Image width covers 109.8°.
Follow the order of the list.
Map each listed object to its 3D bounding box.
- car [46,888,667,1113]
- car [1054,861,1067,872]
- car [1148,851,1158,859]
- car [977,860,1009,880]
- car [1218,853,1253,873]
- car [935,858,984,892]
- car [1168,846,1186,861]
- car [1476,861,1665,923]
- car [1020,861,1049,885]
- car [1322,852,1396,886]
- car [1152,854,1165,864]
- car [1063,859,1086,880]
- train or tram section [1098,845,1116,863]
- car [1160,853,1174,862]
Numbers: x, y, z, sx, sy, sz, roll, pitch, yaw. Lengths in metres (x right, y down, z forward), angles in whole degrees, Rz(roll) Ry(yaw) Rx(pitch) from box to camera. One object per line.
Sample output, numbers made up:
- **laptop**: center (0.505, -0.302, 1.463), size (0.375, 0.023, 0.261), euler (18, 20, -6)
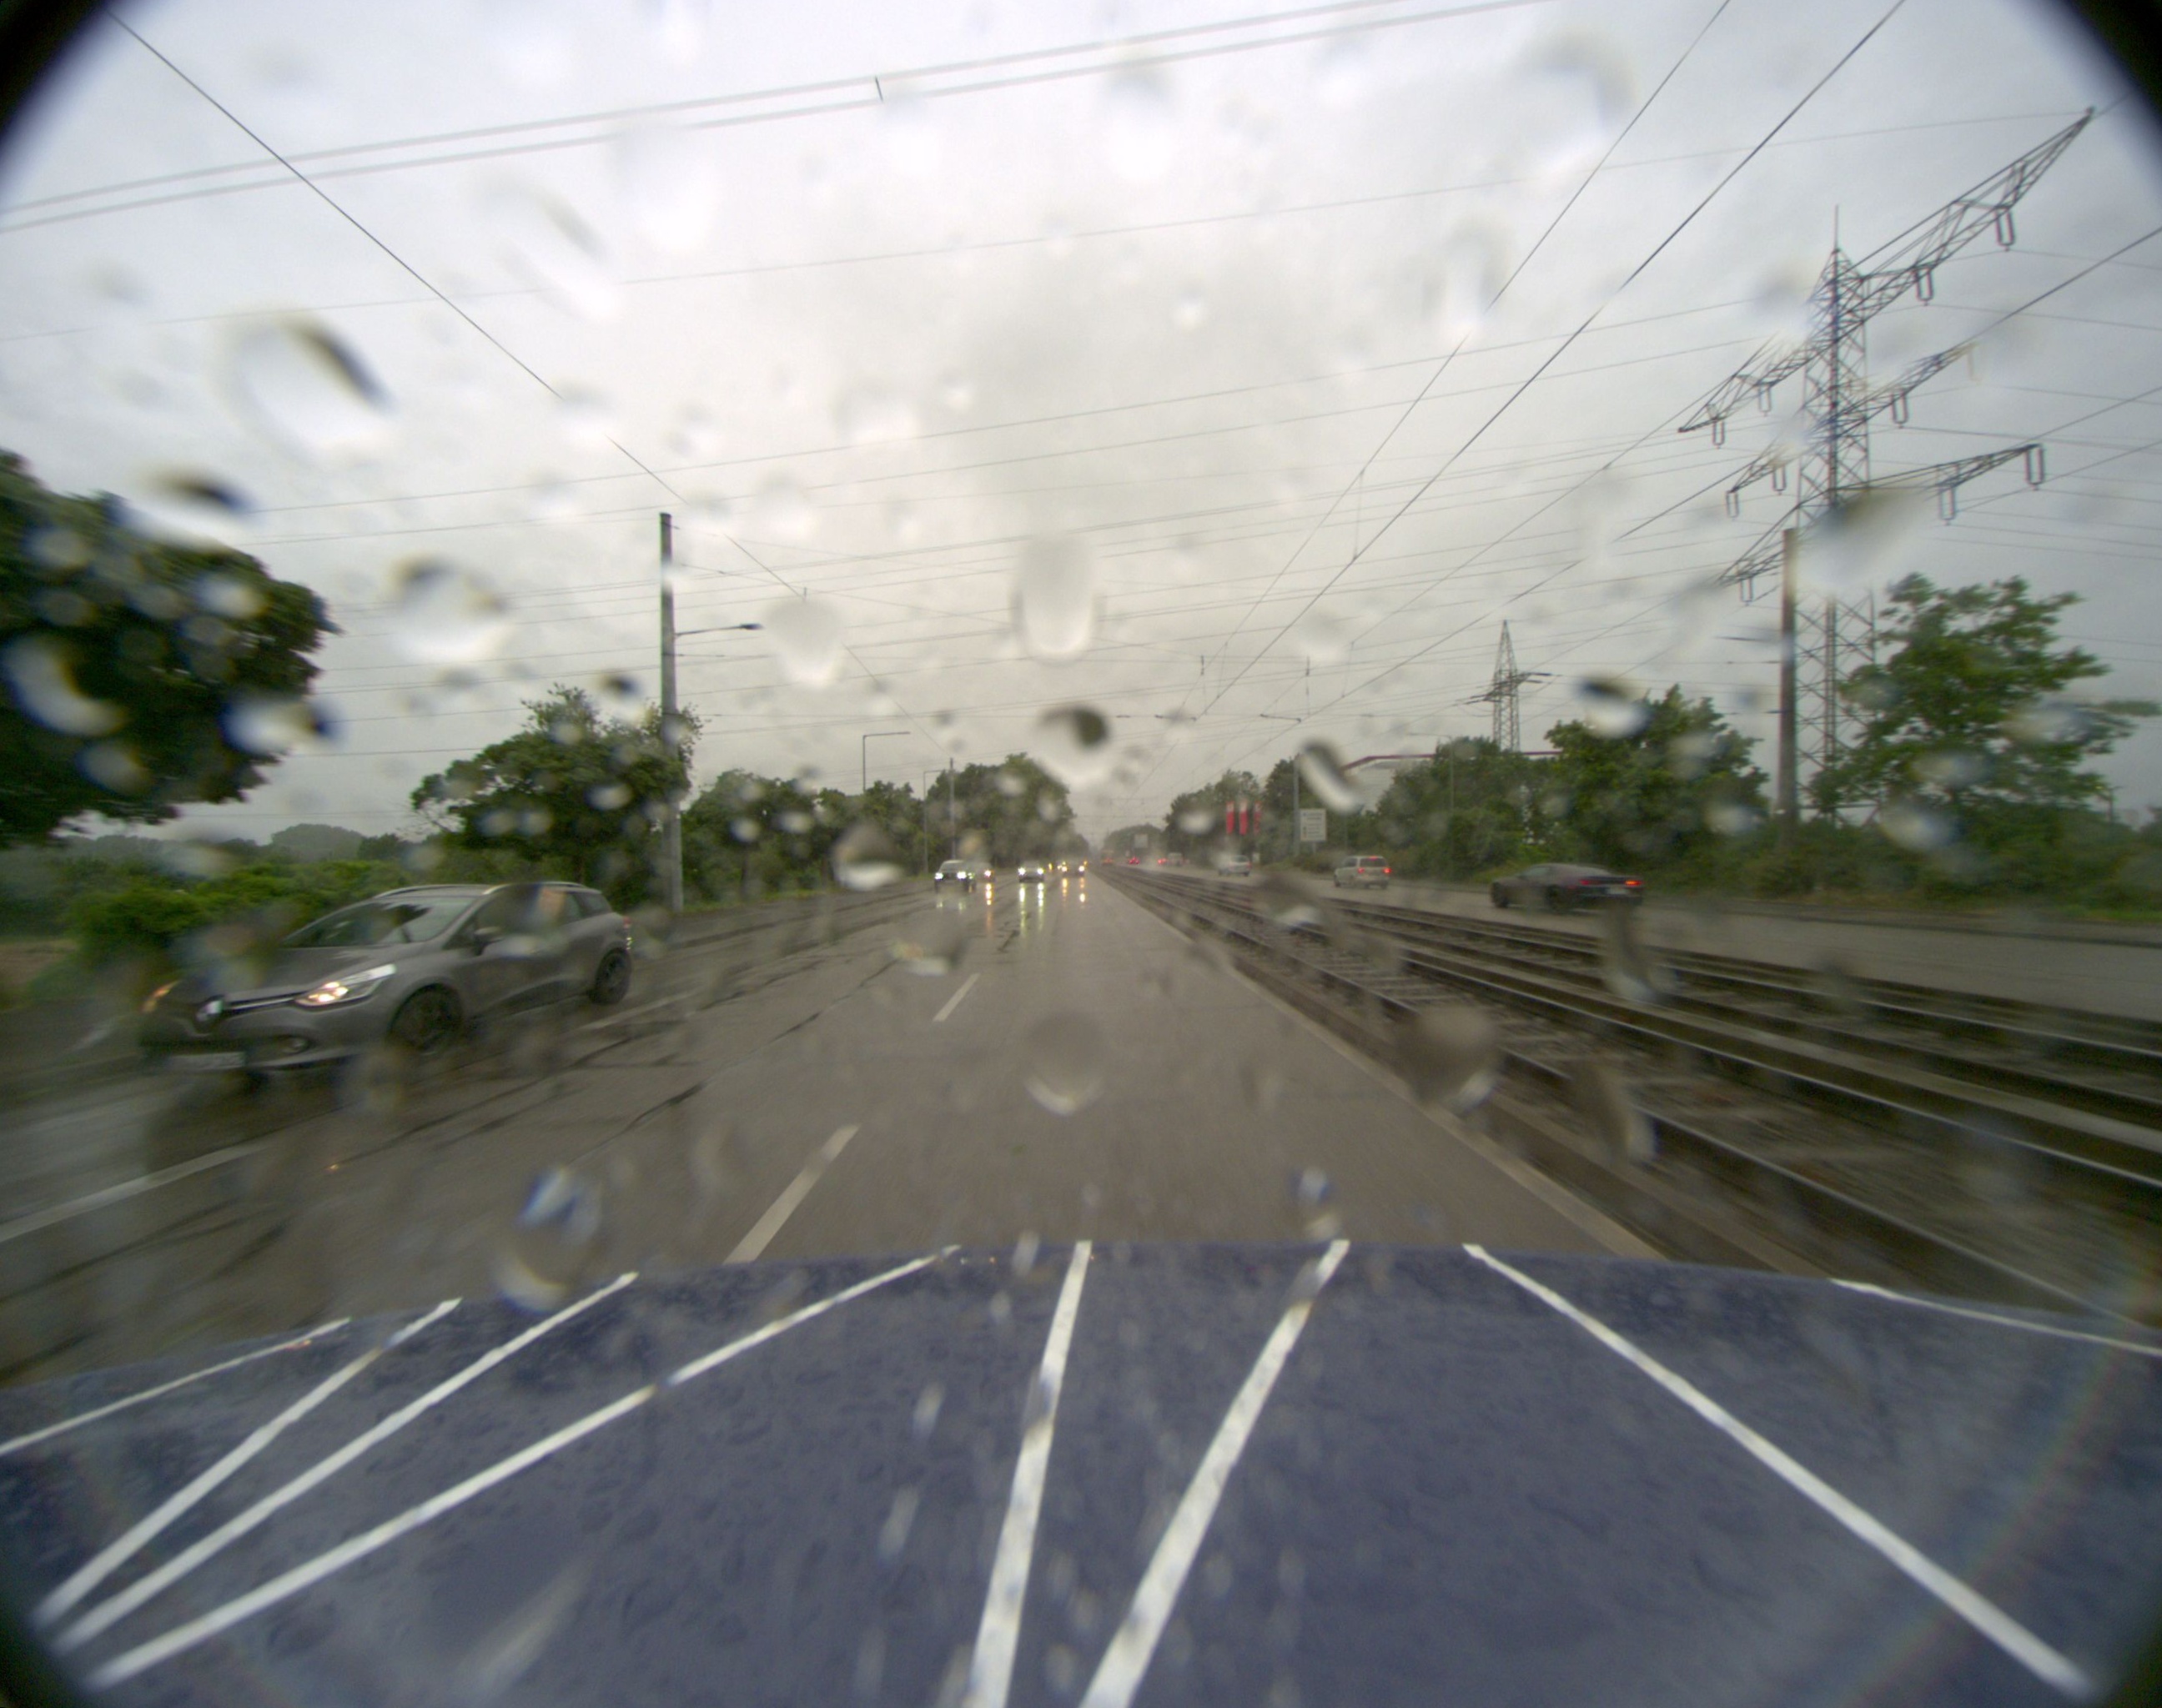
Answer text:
- **car**: center (-6.179, 1.112, 7.395), size (1.892, 1.349, 4.277), euler (-2, -1, 1)
- **car**: center (-3.079, 1.871, 115.398), size (1.846, 1.572, 3.838), euler (-2, -1, -1)
- **car**: center (17.188, 0.292, 181.566), size (1.868, 1.903, 4.000), euler (-2, -1, -1)
- **car**: center (-6.389, 1.148, 55.504), size (1.784, 1.419, 4.001), euler (-1, -1, 1)
- **car**: center (13.357, 0.796, 65.928), size (1.830, 1.625, 5.136), euler (-2, -1, -1)
- **car**: center (-6.515, 1.097, 41.301), size (1.797, 1.692, 4.764), euler (-2, -1, 1)
- **car**: center (15.851, -0.038, 125.650), size (2.156, 2.284, 5.983), euler (2, -1, -1)
- **car**: center (13.244, 0.960, 21.070), size (1.998, 1.455, 5.252), euler (1, -1, 2)
- **car**: center (-3.254, 1.317, 53.513), size (1.807, 1.521, 3.645), euler (-2, -1, -1)
- **car**: center (14.333, 0.762, 39.490), size (1.847, 1.564, 5.066), euler (-2, -1, -1)
- **car**: center (15.930, 1.040, 156.978), size (2.095, 2.088, 4.730), euler (-2, -1, -1)
- **car**: center (-0.498, 1.284, 64.333), size (1.816, 1.692, 4.001), euler (-1, -1, 1)
- **train or tram section**: center (5.595, 0.127, 165.021), size (2.893, 3.683, 19.529), euler (-2, -1, -1)
- **car**: center (15.887, 0.672, 140.218), size (1.901, 1.630, 4.730), euler (-2, -1, -1)
